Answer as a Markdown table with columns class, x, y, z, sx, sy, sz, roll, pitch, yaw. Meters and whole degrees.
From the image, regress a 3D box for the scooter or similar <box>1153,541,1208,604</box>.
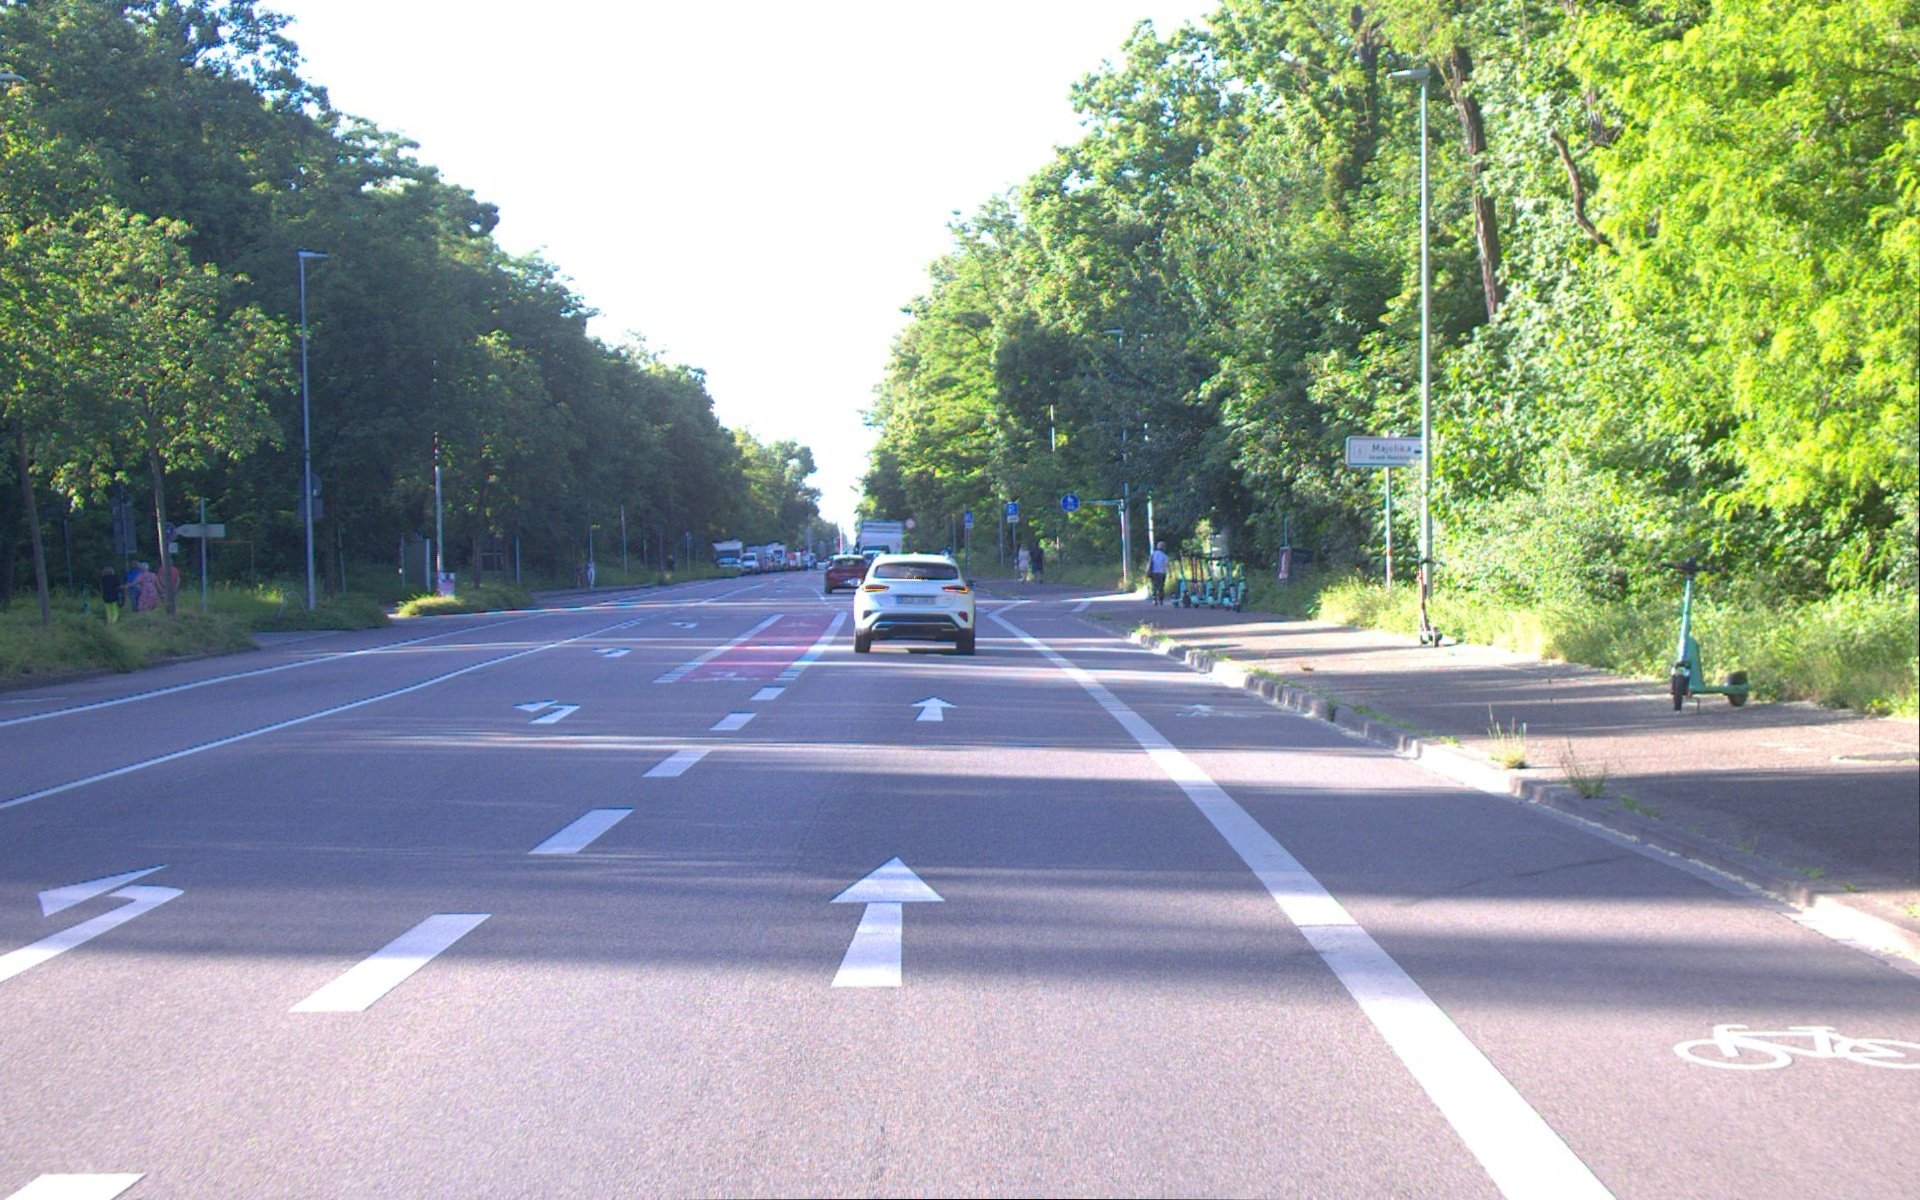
| class | x | y | z | sx | sy | sz | roll | pitch | yaw |
| --- | --- | --- | --- | --- | --- | --- | --- | --- | --- |
| scooter or similar | 5.099 | -0.639 | 79.569 | 0.682 | 1.418 | 1.682 | -2 | 1 | -17 |

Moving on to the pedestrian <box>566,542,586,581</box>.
| class | x | y | z | sx | sy | sz | roll | pitch | yaw |
| --- | --- | --- | --- | --- | --- | --- | --- | --- | --- |
| pedestrian | -20.122 | -2.005 | 180.287 | 0.863 | 2.007 | 1.269 | -1 | 1 | -1 |

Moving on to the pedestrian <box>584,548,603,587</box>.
| class | x | y | z | sx | sy | sz | roll | pitch | yaw |
| --- | --- | --- | --- | --- | --- | --- | --- | --- | --- |
| pedestrian | -19.212 | -1.721 | 180.294 | 0.831 | 2.007 | 1.269 | -2 | 1 | -1 |

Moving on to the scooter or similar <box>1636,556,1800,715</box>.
| class | x | y | z | sx | sy | sz | roll | pitch | yaw |
| --- | --- | --- | --- | --- | --- | --- | --- | --- | --- |
| scooter or similar | 6.240 | 0.281 | 28.257 | 1.537 | 1.245 | 0.534 | -2 | 1 | -44 |

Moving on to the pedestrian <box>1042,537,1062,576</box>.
| class | x | y | z | sx | sy | sz | roll | pitch | yaw |
| --- | --- | --- | --- | --- | --- | --- | --- | --- | --- |
| pedestrian | 3.800 | -1.789 | 142.245 | 0.743 | 1.593 | 0.798 | -2 | 1 | -2 |

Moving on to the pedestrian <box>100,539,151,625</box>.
| class | x | y | z | sx | sy | sz | roll | pitch | yaw |
| --- | --- | --- | --- | --- | --- | --- | --- | --- | --- |
| pedestrian | -19.743 | -0.422 | 81.311 | 0.718 | 2.007 | 0.873 | -1 | 1 | 30 |

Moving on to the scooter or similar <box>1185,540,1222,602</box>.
| class | x | y | z | sx | sy | sz | roll | pitch | yaw |
| --- | --- | --- | --- | --- | --- | --- | --- | --- | --- |
| scooter or similar | 5.718 | -0.682 | 80.886 | 0.682 | 1.418 | 1.682 | -1 | 1 | -1 |

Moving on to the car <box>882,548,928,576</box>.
| class | x | y | z | sx | sy | sz | roll | pitch | yaw |
| --- | --- | --- | --- | --- | --- | --- | --- | --- | --- |
| car | -2.723 | -1.867 | 169.914 | 1.993 | 1.322 | 4.001 | -2 | 1 | -5 |

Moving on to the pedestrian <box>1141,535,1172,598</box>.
| class | x | y | z | sx | sy | sz | roll | pitch | yaw |
| --- | --- | --- | --- | --- | --- | --- | --- | --- | --- |
| pedestrian | 4.979 | -0.856 | 87.077 | 0.755 | 1.558 | 0.802 | -1 | 1 | 4 |

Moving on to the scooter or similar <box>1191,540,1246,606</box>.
| class | x | y | z | sx | sy | sz | roll | pitch | yaw |
| --- | --- | --- | --- | --- | --- | --- | --- | --- | --- |
| scooter or similar | 5.699 | -0.595 | 75.823 | 0.682 | 1.418 | 1.682 | -2 | 1 | -15 |

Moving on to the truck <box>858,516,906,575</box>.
| class | x | y | z | sx | sy | sz | roll | pitch | yaw |
| --- | --- | --- | --- | --- | --- | --- | --- | --- | --- |
| truck | -4.873 | -3.376 | 213.639 | 2.799 | 3.558 | 8.036 | 0 | 1 | -3 |

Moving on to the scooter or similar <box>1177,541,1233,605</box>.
| class | x | y | z | sx | sy | sz | roll | pitch | yaw |
| --- | --- | --- | --- | --- | --- | --- | --- | --- | --- |
| scooter or similar | 5.539 | -0.624 | 77.893 | 0.682 | 1.418 | 1.682 | -2 | 1 | -17 |

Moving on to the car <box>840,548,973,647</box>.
| class | x | y | z | sx | sy | sz | roll | pitch | yaw |
| --- | --- | --- | --- | --- | --- | --- | --- | --- | --- |
| car | -0.852 | -0.064 | 52.546 | 1.761 | 1.454 | 3.818 | 0 | 1 | -5 |

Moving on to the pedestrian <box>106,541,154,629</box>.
| class | x | y | z | sx | sy | sz | roll | pitch | yaw |
| --- | --- | --- | --- | --- | --- | --- | --- | --- | --- |
| pedestrian | -19.188 | -0.358 | 79.485 | 0.717 | 2.007 | 0.796 | -1 | 1 | 19 |

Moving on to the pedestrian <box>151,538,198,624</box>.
| class | x | y | z | sx | sy | sz | roll | pitch | yaw |
| --- | --- | --- | --- | --- | --- | --- | --- | --- | --- |
| pedestrian | -18.720 | -0.457 | 81.930 | 0.718 | 2.007 | 0.746 | -1 | 1 | 30 |

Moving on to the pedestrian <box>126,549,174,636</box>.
| class | x | y | z | sx | sy | sz | roll | pitch | yaw |
| --- | --- | --- | --- | --- | --- | --- | --- | --- | --- |
| pedestrian | -18.911 | -0.183 | 80.286 | 0.717 | 2.007 | 0.796 | -1 | 1 | 18 |

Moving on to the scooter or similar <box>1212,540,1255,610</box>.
| class | x | y | z | sx | sy | sz | roll | pitch | yaw |
| --- | --- | --- | --- | --- | --- | --- | --- | --- | --- |
| scooter or similar | 5.711 | -0.526 | 71.872 | 0.682 | 1.418 | 1.682 | -1 | 1 | -1 |

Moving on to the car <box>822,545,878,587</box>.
| class | x | y | z | sx | sy | sz | roll | pitch | yaw |
| --- | --- | --- | --- | --- | --- | --- | --- | --- | --- |
| car | -4.157 | -1.302 | 130.229 | 1.993 | 1.514 | 4.000 | -1 | 1 | -1 |

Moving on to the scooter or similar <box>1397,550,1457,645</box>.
| class | x | y | z | sx | sy | sz | roll | pitch | yaw |
| --- | --- | --- | --- | --- | --- | --- | --- | --- | --- |
| scooter or similar | 6.256 | -0.044 | 46.110 | 0.533 | 1.245 | 1.541 | -1 | 1 | -1 |

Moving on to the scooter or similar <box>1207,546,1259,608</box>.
| class | x | y | z | sx | sy | sz | roll | pitch | yaw |
| --- | --- | --- | --- | --- | --- | --- | --- | --- | --- |
| scooter or similar | 5.852 | -0.500 | 73.728 | 0.465 | 1.302 | 1.481 | -2 | 1 | -23 |

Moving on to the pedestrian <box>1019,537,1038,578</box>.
| class | x | y | z | sx | sy | sz | roll | pitch | yaw |
| --- | --- | --- | --- | --- | --- | --- | --- | --- | --- |
| pedestrian | 2.852 | -1.760 | 142.226 | 0.698 | 1.647 | 0.876 | -2 | 1 | -2 |
